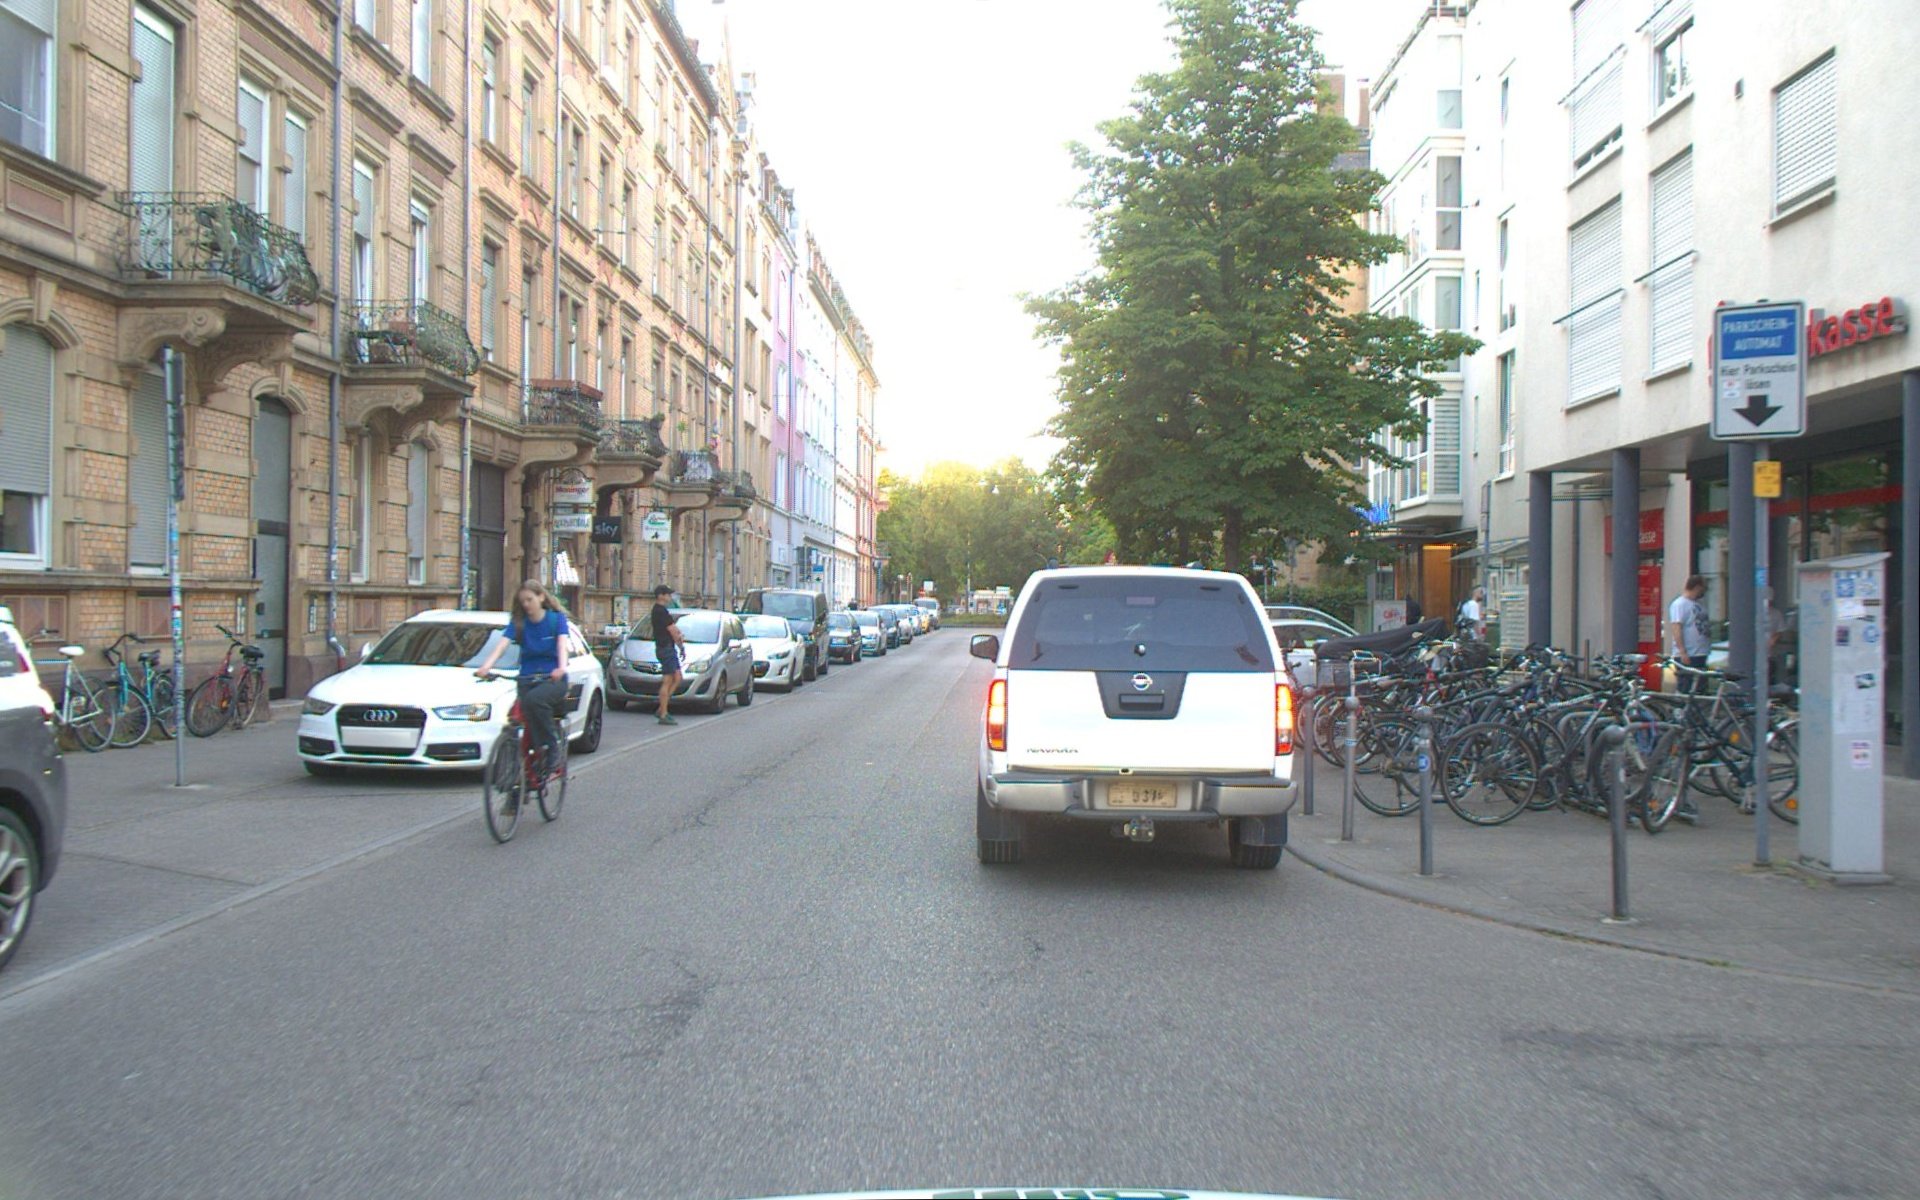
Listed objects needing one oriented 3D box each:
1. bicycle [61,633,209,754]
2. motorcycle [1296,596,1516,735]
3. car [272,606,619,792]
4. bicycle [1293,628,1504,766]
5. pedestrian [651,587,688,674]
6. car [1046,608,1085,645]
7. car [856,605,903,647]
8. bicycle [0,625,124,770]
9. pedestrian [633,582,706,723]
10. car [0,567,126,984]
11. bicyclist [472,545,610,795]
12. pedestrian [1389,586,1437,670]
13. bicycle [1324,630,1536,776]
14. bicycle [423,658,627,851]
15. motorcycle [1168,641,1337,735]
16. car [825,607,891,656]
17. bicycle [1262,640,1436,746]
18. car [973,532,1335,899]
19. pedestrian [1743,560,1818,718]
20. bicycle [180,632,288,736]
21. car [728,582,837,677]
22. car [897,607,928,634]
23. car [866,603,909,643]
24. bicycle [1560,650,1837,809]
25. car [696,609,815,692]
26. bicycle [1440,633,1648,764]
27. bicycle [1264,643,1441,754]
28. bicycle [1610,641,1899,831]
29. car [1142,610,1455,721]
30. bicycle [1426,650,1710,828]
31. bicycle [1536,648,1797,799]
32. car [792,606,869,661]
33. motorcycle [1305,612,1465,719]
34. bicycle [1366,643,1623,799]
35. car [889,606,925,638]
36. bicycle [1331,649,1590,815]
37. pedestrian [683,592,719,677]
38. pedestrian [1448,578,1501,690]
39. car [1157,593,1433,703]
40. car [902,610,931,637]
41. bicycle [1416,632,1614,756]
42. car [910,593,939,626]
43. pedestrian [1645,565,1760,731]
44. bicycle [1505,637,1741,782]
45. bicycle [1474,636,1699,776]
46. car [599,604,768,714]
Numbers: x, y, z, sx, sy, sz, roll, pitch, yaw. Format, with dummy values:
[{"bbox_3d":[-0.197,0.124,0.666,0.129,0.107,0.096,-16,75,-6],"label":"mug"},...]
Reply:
[{"bbox_3d":[-7.839,0.860,15.779,0.553,1.054,1.624,1,0,1],"label":"bicycle"},{"bbox_3d":[5.424,0.792,20.248,2.439,1.576,0.824,-2,-1,4],"label":"motorcycle"},{"bbox_3d":[-4.617,0.804,15.603,1.721,1.436,4.509,1,0,2],"label":"car"},{"bbox_3d":[4.249,0.930,16.126,1.830,1.203,0.743,-4,-2,6],"label":"bicycle"},{"bbox_3d":[-6.262,0.646,35.654,0.568,1.802,0.997,3,0,-2],"label":"pedestrian"},{"bbox_3d":[4.754,1.175,74.617,1.641,1.527,3.902,-3,0,3],"label":"car"},{"bbox_3d":[-3.182,1.035,66.181,1.602,1.593,3.781,1,0,1],"label":"car"},{"bbox_3d":[-7.944,0.804,14.296,0.505,1.151,1.731,1,0,1],"label":"bicycle"},{"bbox_3d":[-3.786,0.685,21.603,0.542,1.786,1.023,0,-2,13],"label":"pedestrian"},{"bbox_3d":[-4.750,0.680,5.250,1.814,1.662,4.446,1,0,2],"label":"car"},{"bbox_3d":[-2.880,0.466,11.438,0.631,1.649,0.919,-1,0,5],"label":"bicyclist"},{"bbox_3d":[9.613,0.589,35.137,0.712,1.746,0.963,-2,-1,2],"label":"pedestrian"},{"bbox_3d":[4.262,0.933,15.138,1.750,1.203,0.734,-4,-2,12],"label":"bicycle"},{"bbox_3d":[-2.883,0.984,11.215,0.631,1.100,2.170,-1,0,5],"label":"bicycle"},{"bbox_3d":[3.741,1.108,21.191,2.023,1.097,0.661,-2,-1,-14],"label":"motorcycle"},{"bbox_3d":[-3.433,1.050,56.286,1.796,1.483,4.207,3,0,2],"label":"car"},{"bbox_3d":[4.245,1.012,18.126,1.735,1.040,0.565,-4,-2,4],"label":"bicycle"},{"bbox_3d":[1.077,0.640,11.362,1.871,1.885,5.270,1,-1,1],"label":"car"},{"bbox_3d":[9.334,0.430,18.812,0.651,1.753,0.660,0,1,36],"label":"pedestrian"},{"bbox_3d":[-7.813,0.883,17.861,0.581,1.045,1.622,1,0,-6],"label":"bicycle"},{"bbox_3d":[-3.982,0.649,37.919,1.953,1.957,4.950,2,0,-1],"label":"car"},{"bbox_3d":[-2.701,1.154,94.366,1.664,1.451,4.021,2,-1,-1],"label":"car"},{"bbox_3d":[-3.137,0.980,72.341,1.807,1.688,4.251,0,-1,-1],"label":"car"},{"bbox_3d":[5.343,0.930,12.040,1.686,1.072,0.654,-2,-1,5],"label":"bicycle"},{"bbox_3d":[-3.954,0.943,32.693,1.747,1.447,4.485,2,0,0],"label":"car"},{"bbox_3d":[5.464,0.910,15.521,1.687,1.137,0.653,-2,-1,-2],"label":"bicycle"},{"bbox_3d":[4.134,1.033,17.512,1.683,1.049,0.668,-4,-2,4],"label":"bicycle"},{"bbox_3d":[5.279,0.881,11.016,1.691,1.151,0.577,-2,-1,-11],"label":"bicycle"},{"bbox_3d":[5.109,0.959,25.265,4.336,1.481,1.778,-2,0,-5],"label":"car"},{"bbox_3d":[4.178,0.946,11.469,1.686,1.137,0.707,-2,-1,5],"label":"bicycle"},{"bbox_3d":[5.398,0.934,12.710,1.686,1.072,0.654,-2,-1,5],"label":"bicycle"},{"bbox_3d":[-3.645,0.948,47.255,1.701,1.443,4.779,2,-1,1],"label":"car"},{"bbox_3d":[5.970,0.913,23.282,2.016,1.393,0.717,-2,0,-2],"label":"motorcycle"},{"bbox_3d":[4.212,0.942,13.119,1.772,1.137,0.707,-2,-1,0],"label":"bicycle"},{"bbox_3d":[-2.799,1.168,88.231,1.663,1.649,4.022,2,-1,1],"label":"car"},{"bbox_3d":[3.709,0.964,12.342,1.687,1.137,0.707,-2,-1,0],"label":"bicycle"},{"bbox_3d":[-5.609,0.739,35.896,0.593,1.803,0.777,3,0,-2],"label":"pedestrian"},{"bbox_3d":[8.361,0.555,26.895,0.614,1.784,0.586,1,-2,-10],"label":"pedestrian"},{"bbox_3d":[5.596,0.792,28.020,4.308,1.676,1.746,-2,0,1],"label":"car"},{"bbox_3d":[-2.604,1.419,100.293,1.664,1.579,4.021,2,-1,-1],"label":"car"},{"bbox_3d":[5.432,0.912,16.243,1.687,1.137,0.653,-2,-1,-2],"label":"bicycle"},{"bbox_3d":[-2.363,0.625,108.451,1.774,2.011,4.184,2,-1,-3],"label":"car"},{"bbox_3d":[8.200,0.508,18.269,0.769,1.753,0.899,-3,1,-42],"label":"pedestrian"},{"bbox_3d":[5.531,0.906,13.866,1.686,1.137,0.654,-2,-1,5],"label":"bicycle"},{"bbox_3d":[5.443,0.911,14.438,1.686,1.137,0.654,-2,-1,5],"label":"bicycle"},{"bbox_3d":[-4.120,0.840,25.246,1.681,1.483,4.001,2,0,3],"label":"car"}]
